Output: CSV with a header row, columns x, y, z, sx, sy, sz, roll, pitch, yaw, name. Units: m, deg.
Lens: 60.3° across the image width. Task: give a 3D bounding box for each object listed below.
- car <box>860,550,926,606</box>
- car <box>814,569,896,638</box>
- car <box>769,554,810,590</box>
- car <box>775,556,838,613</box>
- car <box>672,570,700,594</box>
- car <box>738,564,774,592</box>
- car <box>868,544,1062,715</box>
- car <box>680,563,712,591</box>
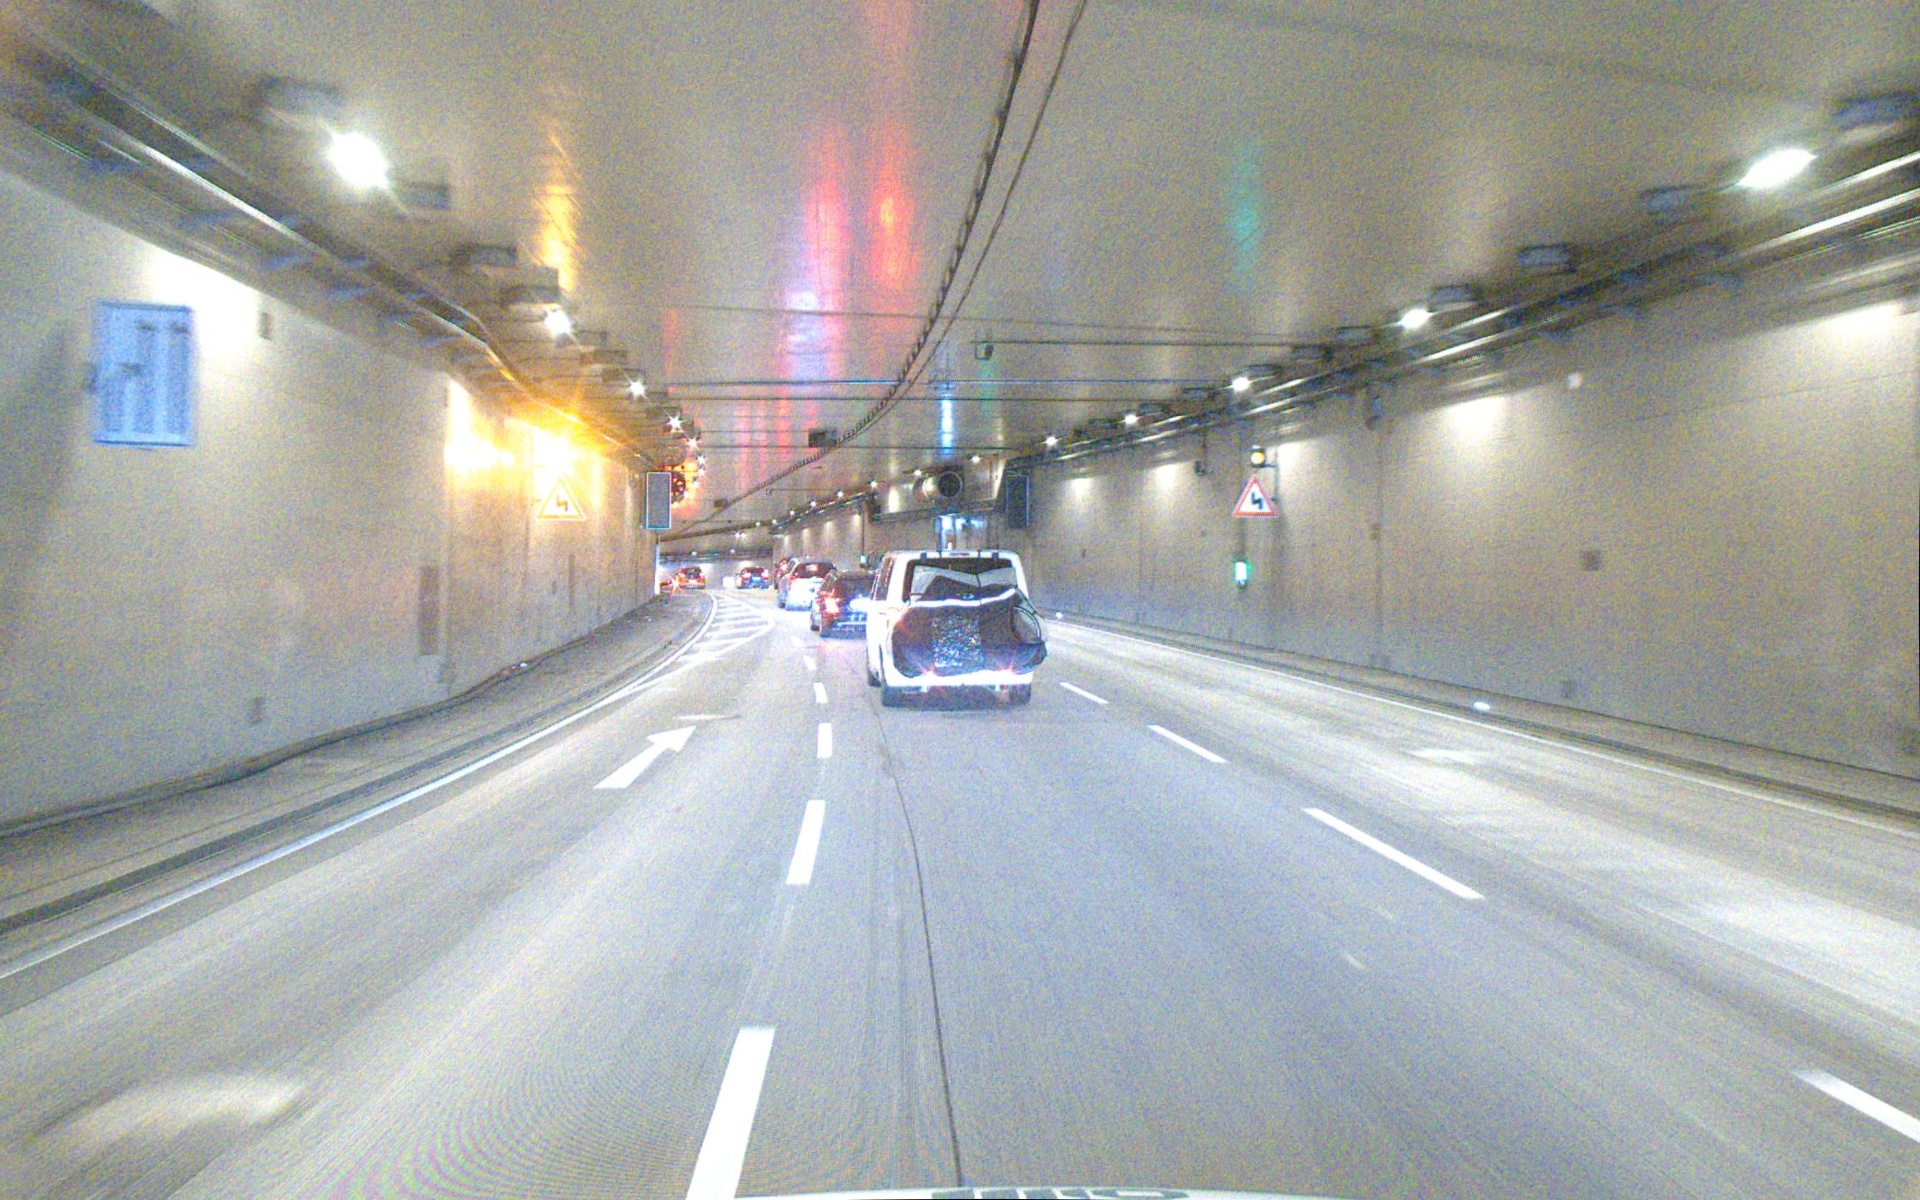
x,y,z,sx,sy,sz,roll,pitch,yaw,name
-2.365,-0.722,57.351,1.838,1.792,3.992,2,-1,-9,car
-2.362,0.048,36.712,1.573,1.419,3.272,0,1,-8,car
-8.438,-1.349,81.630,1.575,1.659,3.343,2,-1,-14,car
-4.694,-0.495,50.374,1.574,1.621,3.347,0,2,-11,car
-20.433,-1.298,123.038,1.791,1.659,3.830,2,-1,-13,car
-12.911,-1.373,104.567,1.791,1.659,3.830,2,-1,-13,car
-0.087,0.266,20.989,1.955,1.879,5.295,0,1,-6,car
-16.977,-1.480,106.187,1.790,1.659,3.831,2,-1,-12,car
